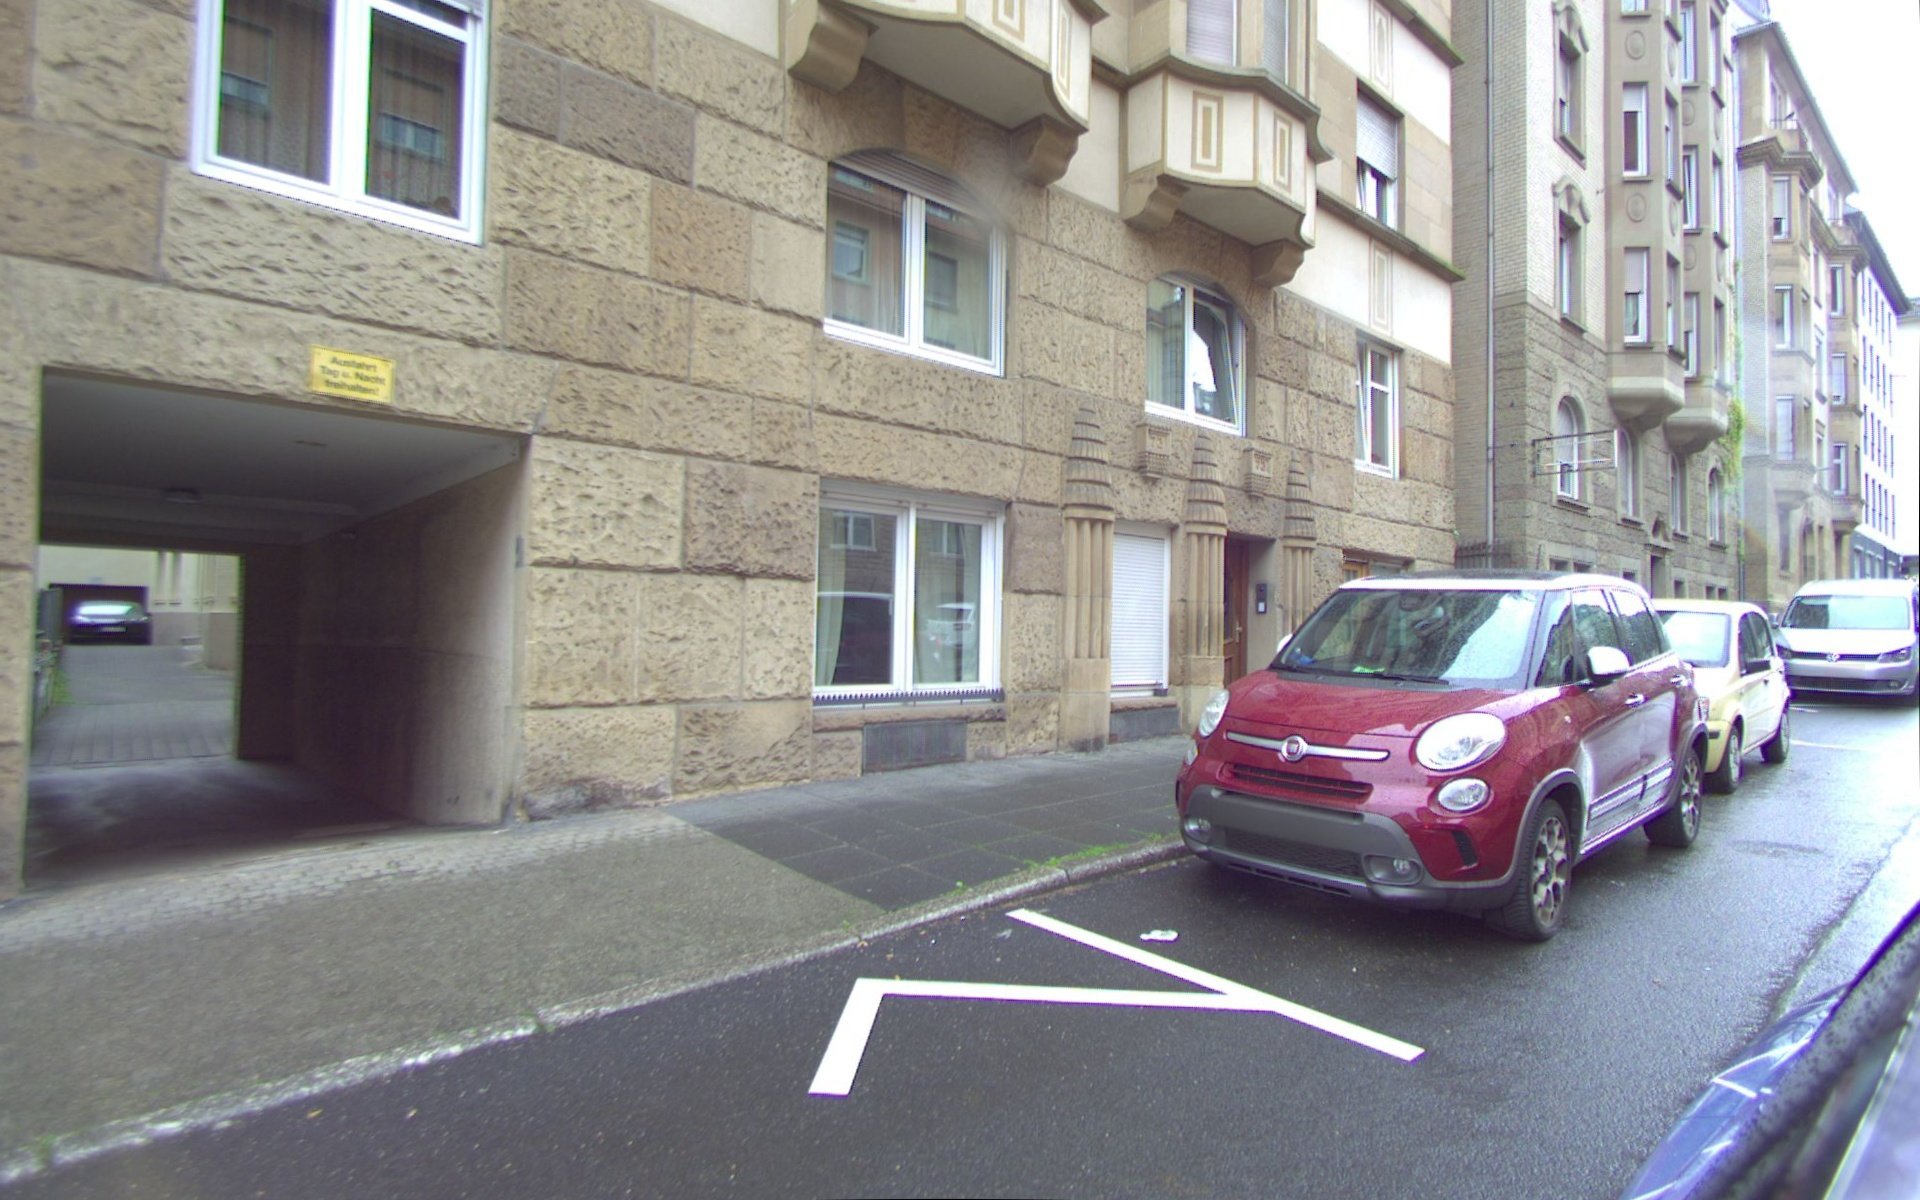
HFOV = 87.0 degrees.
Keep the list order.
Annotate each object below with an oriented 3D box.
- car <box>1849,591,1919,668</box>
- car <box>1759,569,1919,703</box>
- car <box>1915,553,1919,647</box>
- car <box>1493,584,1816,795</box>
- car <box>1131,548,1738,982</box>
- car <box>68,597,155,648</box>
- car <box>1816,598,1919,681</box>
[{"bbox_3d":[20.764,0.590,21.753,3.987,1.544,1.933,0,-1,-41],"label":"car"},{"bbox_3d":[13.812,0.477,15.470,3.893,1.791,1.809,0,0,-41],"label":"car"},{"bbox_3d":[29.352,-0.025,29.030,6.042,2.567,1.991,0,-1,-39],"label":"car"},{"bbox_3d":[6.347,0.656,9.122,3.471,1.530,1.630,0,-1,-42],"label":"car"},{"bbox_3d":[2.902,0.595,5.769,3.932,1.621,1.772,0,1,-42],"label":"car"},{"bbox_3d":[-24.901,0.618,29.643,1.765,1.363,4.008,-1,1,-43],"label":"car"},{"bbox_3d":[17.503,0.667,18.737,3.912,1.406,1.929,0,-1,-41],"label":"car"}]
